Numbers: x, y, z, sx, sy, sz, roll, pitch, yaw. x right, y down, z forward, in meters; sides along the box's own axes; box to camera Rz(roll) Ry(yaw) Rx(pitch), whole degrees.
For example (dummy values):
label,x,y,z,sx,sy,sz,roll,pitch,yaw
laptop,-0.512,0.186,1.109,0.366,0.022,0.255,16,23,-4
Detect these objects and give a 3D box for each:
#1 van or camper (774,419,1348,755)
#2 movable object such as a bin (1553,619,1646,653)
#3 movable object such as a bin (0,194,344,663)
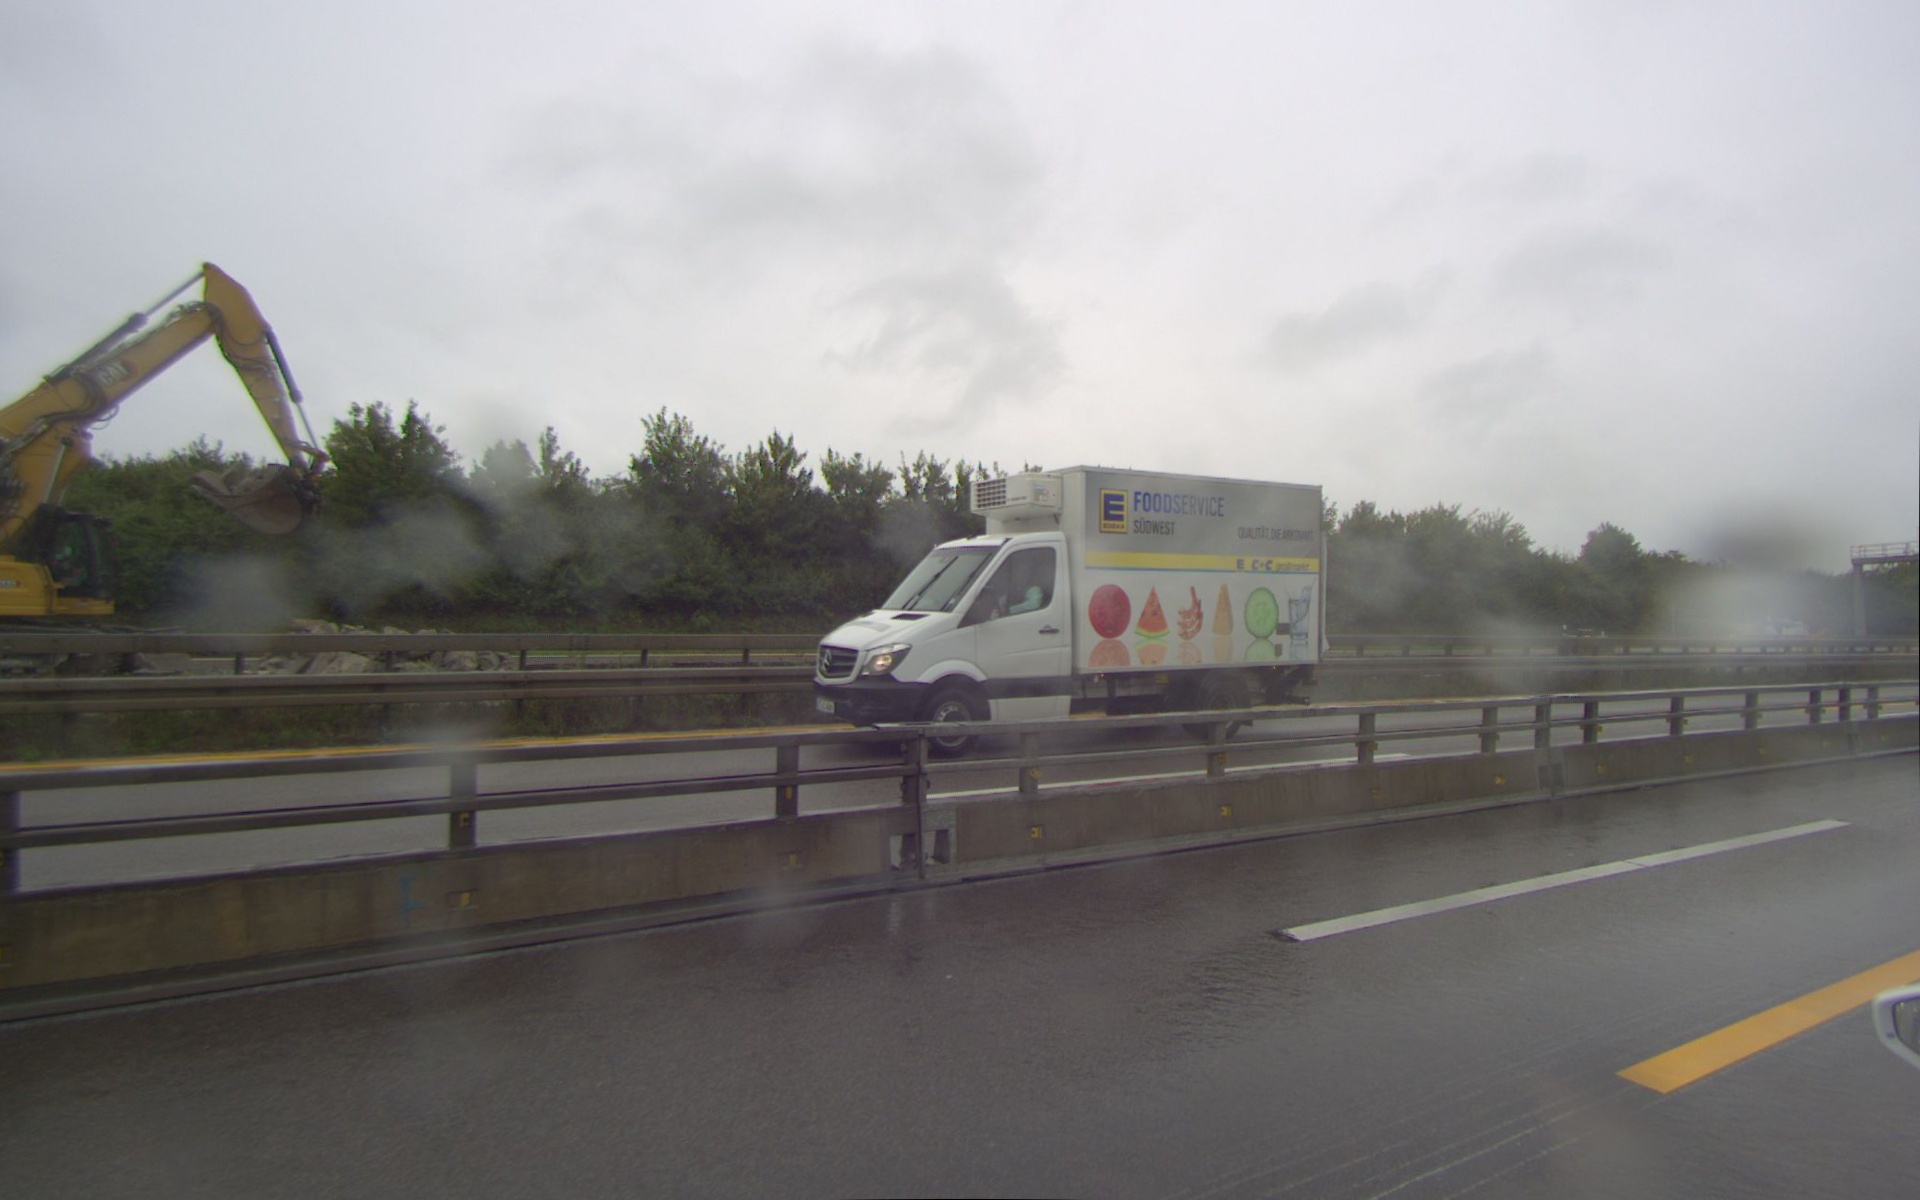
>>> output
label,x,y,z,sx,sy,sz,roll,pitch,yaw
van or camper,1.384,-0.034,11.881,6.621,3.082,2.282,2,0,-30
movable object such as a bin,30.701,1.722,48.215,3.951,1.444,2.116,2,0,-29
movable object such as a bin,-17.119,-3.021,19.661,8.207,8.252,3.580,2,0,-29
